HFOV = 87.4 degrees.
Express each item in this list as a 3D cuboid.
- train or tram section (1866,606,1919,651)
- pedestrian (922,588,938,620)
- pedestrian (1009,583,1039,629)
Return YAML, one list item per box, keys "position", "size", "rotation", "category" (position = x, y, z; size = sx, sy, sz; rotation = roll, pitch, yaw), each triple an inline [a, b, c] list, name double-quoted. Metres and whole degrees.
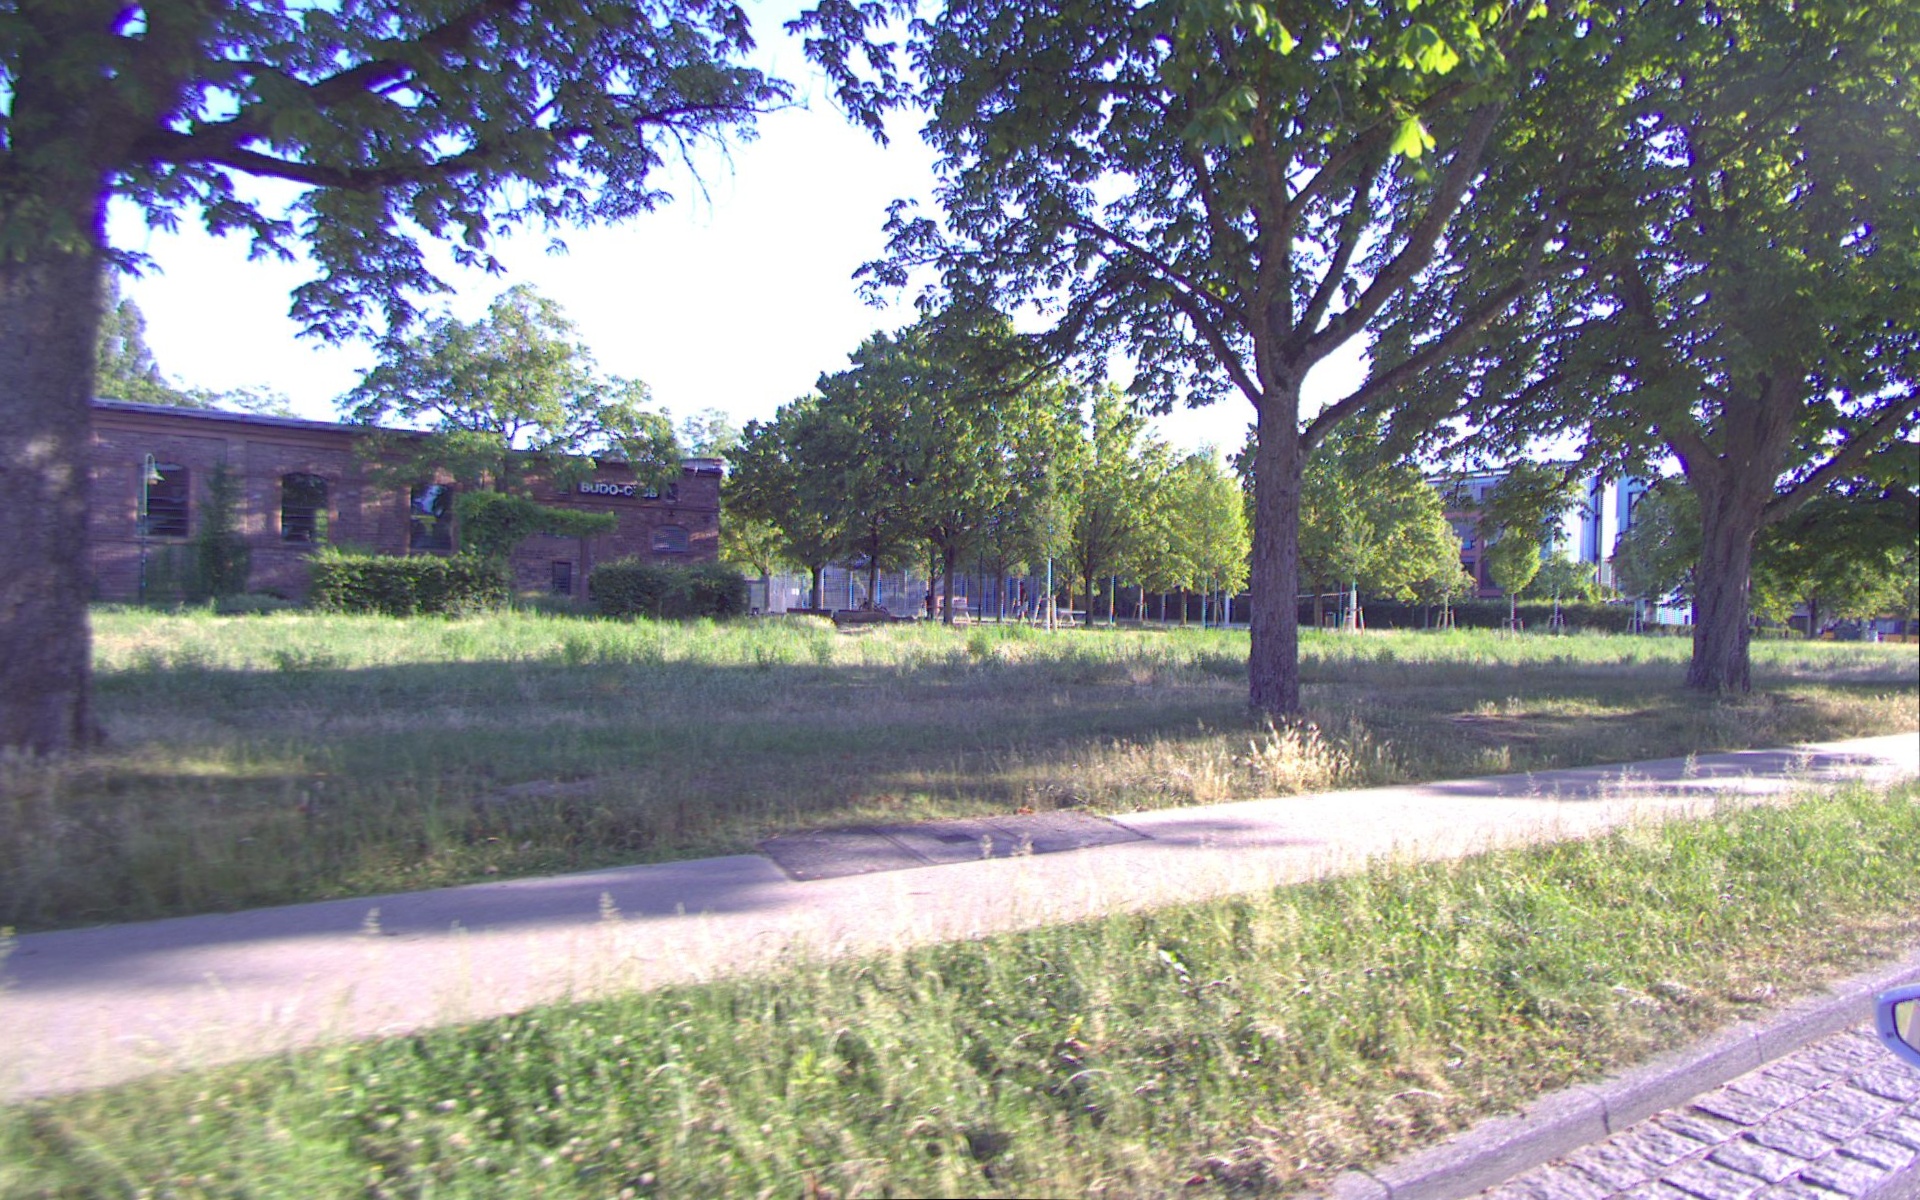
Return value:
- position: [94.244, 3.021, 89.996]
  size: [3.609, 4.009, 18.935]
  rotation: [2, 1, -36]
  category: "train or tram section"
- position: [-1.445, 0.199, 48.633]
  size: [0.497, 1.498, 0.583]
  rotation: [2, 1, -39]
  category: "pedestrian"
- position: [2.754, 0.246, 43.137]
  size: [0.787, 1.906, 1.044]
  rotation: [2, 1, -27]
  category: "pedestrian"
